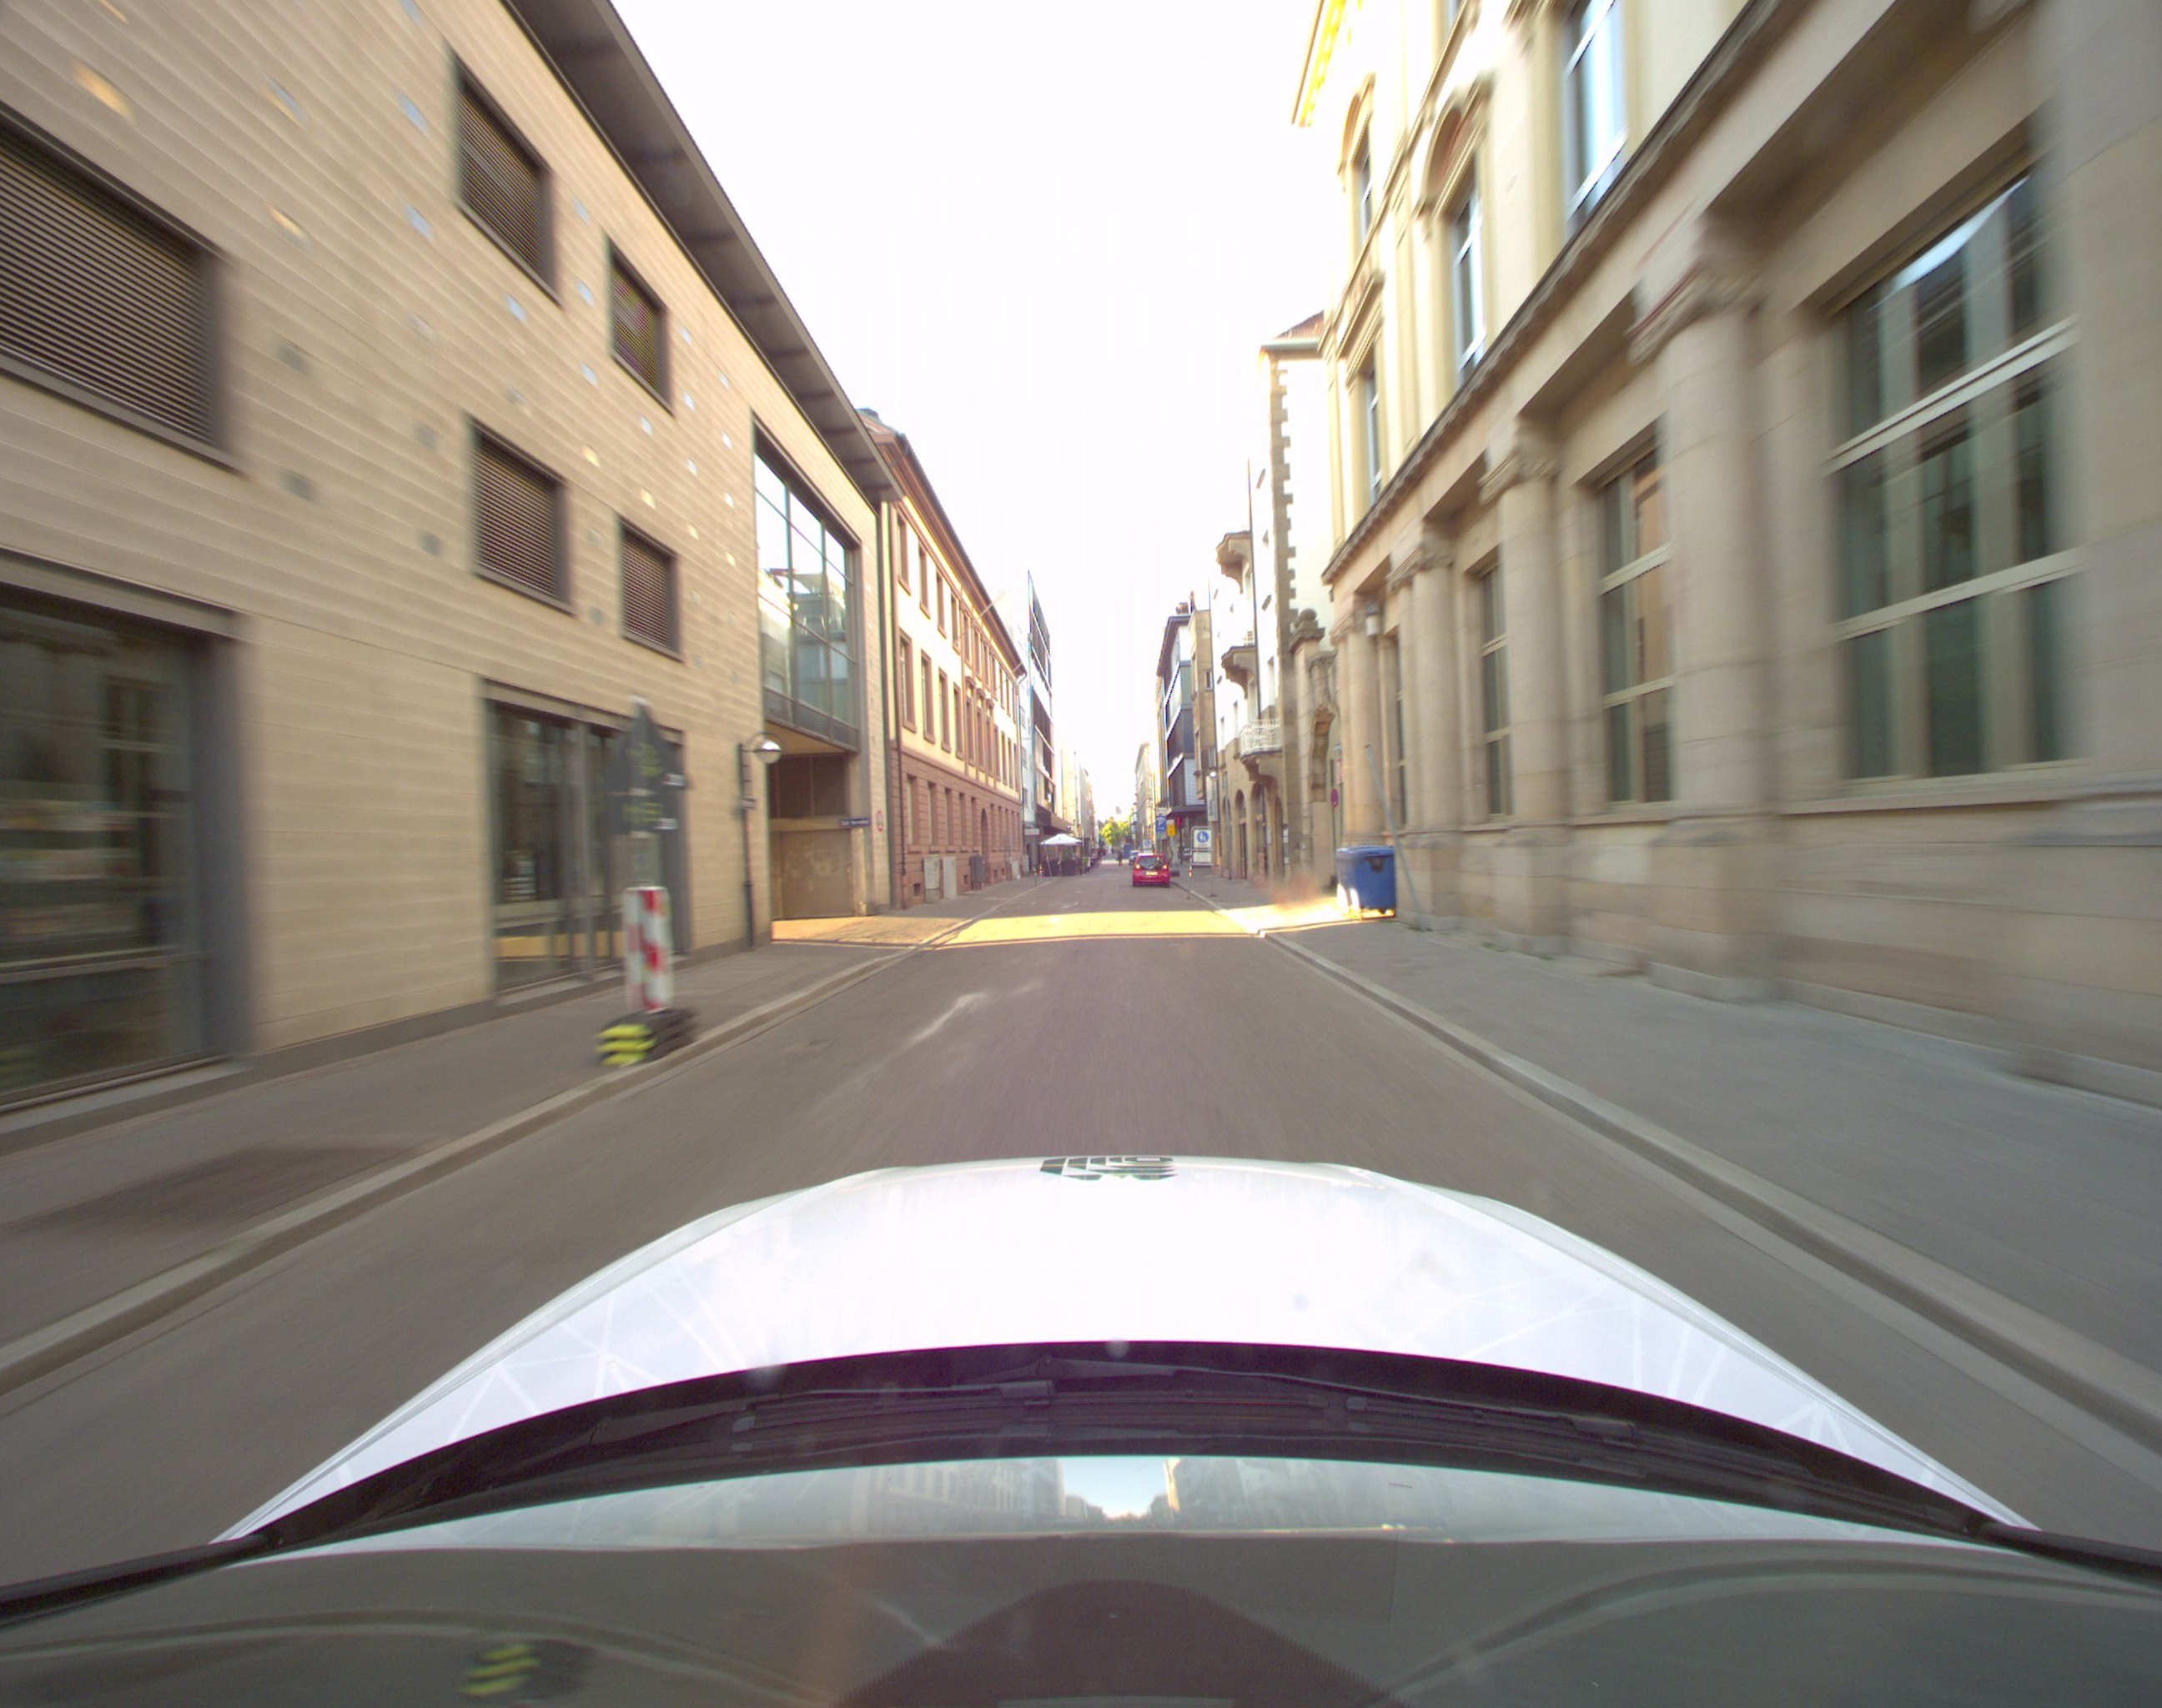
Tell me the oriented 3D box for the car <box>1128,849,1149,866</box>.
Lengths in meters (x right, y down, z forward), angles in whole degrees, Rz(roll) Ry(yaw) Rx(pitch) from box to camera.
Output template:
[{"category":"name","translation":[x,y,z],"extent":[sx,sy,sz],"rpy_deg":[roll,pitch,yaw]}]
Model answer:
[{"category":"car","translation":[5.984,0.342,85.308],"extent":[1.986,1.611,4.001],"rpy_deg":[-2,0,1]}]

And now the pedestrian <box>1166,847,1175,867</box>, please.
[{"category":"pedestrian","translation":[6.761,0.198,61.551],"extent":[0.653,1.487,0.493],"rpy_deg":[-2,0,4]}]

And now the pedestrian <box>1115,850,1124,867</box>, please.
[{"category":"pedestrian","translation":[4.013,0.473,85.758],"extent":[0.863,1.713,0.852],"rpy_deg":[-2,0,0]}]

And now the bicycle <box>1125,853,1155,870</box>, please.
[{"category":"bicycle","translation":[4.181,0.559,58.075],"extent":[2.046,1.134,0.649],"rpy_deg":[-2,0,-2]}]

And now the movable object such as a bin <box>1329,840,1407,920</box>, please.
[{"category":"movable object such as a bin","translation":[5.339,0.466,15.221],"extent":[0.987,1.392,1.241],"rpy_deg":[-3,0,2]}]

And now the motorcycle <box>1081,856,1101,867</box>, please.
[{"category":"motorcycle","translation":[0.947,0.728,77.249],"extent":[1.796,0.989,0.560],"rpy_deg":[-2,0,-2]}]

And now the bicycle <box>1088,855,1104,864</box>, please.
[{"category":"bicycle","translation":[1.533,0.562,83.306],"extent":[1.526,0.896,0.481],"rpy_deg":[-2,0,-26]}]

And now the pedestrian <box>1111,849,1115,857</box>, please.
[{"category":"pedestrian","translation":[6.749,-0.276,171.686],"extent":[0.801,1.672,0.889],"rpy_deg":[-2,0,4]}]

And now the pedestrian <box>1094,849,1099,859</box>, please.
[{"category":"pedestrian","translation":[2.428,0.011,127.112],"extent":[0.675,1.623,0.626],"rpy_deg":[-2,0,4]}]

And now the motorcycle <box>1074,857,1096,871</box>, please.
[{"category":"motorcycle","translation":[0.325,0.835,68.048],"extent":[1.796,1.040,0.493],"rpy_deg":[-2,0,-2]}]

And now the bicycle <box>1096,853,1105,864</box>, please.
[{"category":"bicycle","translation":[2.196,0.515,93.372],"extent":[0.636,1.157,2.496],"rpy_deg":[-2,0,-6]}]

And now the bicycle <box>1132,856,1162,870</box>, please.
[{"category":"bicycle","translation":[4.914,0.672,60.781],"extent":[2.194,0.906,0.649],"rpy_deg":[-2,0,-2]}]

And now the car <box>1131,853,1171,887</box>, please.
[{"category":"car","translation":[3.085,0.666,36.260],"extent":[1.642,1.427,3.538],"rpy_deg":[0,0,3]}]

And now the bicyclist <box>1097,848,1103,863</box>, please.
[{"category":"bicyclist","translation":[2.173,0.142,93.471],"extent":[0.635,1.641,0.770],"rpy_deg":[-2,0,-7]}]

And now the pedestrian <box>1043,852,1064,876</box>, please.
[{"category":"pedestrian","translation":[-1.764,0.622,52.183],"extent":[1.286,1.487,0.661],"rpy_deg":[-2,0,0]}]

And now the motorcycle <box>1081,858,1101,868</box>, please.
[{"category":"motorcycle","translation":[0.911,0.867,76.214],"extent":[1.796,0.875,0.560],"rpy_deg":[-2,0,-2]}]

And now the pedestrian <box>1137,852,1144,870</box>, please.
[{"category":"pedestrian","translation":[5.358,0.617,73.431],"extent":[0.465,1.619,0.633],"rpy_deg":[-2,0,-9]}]
